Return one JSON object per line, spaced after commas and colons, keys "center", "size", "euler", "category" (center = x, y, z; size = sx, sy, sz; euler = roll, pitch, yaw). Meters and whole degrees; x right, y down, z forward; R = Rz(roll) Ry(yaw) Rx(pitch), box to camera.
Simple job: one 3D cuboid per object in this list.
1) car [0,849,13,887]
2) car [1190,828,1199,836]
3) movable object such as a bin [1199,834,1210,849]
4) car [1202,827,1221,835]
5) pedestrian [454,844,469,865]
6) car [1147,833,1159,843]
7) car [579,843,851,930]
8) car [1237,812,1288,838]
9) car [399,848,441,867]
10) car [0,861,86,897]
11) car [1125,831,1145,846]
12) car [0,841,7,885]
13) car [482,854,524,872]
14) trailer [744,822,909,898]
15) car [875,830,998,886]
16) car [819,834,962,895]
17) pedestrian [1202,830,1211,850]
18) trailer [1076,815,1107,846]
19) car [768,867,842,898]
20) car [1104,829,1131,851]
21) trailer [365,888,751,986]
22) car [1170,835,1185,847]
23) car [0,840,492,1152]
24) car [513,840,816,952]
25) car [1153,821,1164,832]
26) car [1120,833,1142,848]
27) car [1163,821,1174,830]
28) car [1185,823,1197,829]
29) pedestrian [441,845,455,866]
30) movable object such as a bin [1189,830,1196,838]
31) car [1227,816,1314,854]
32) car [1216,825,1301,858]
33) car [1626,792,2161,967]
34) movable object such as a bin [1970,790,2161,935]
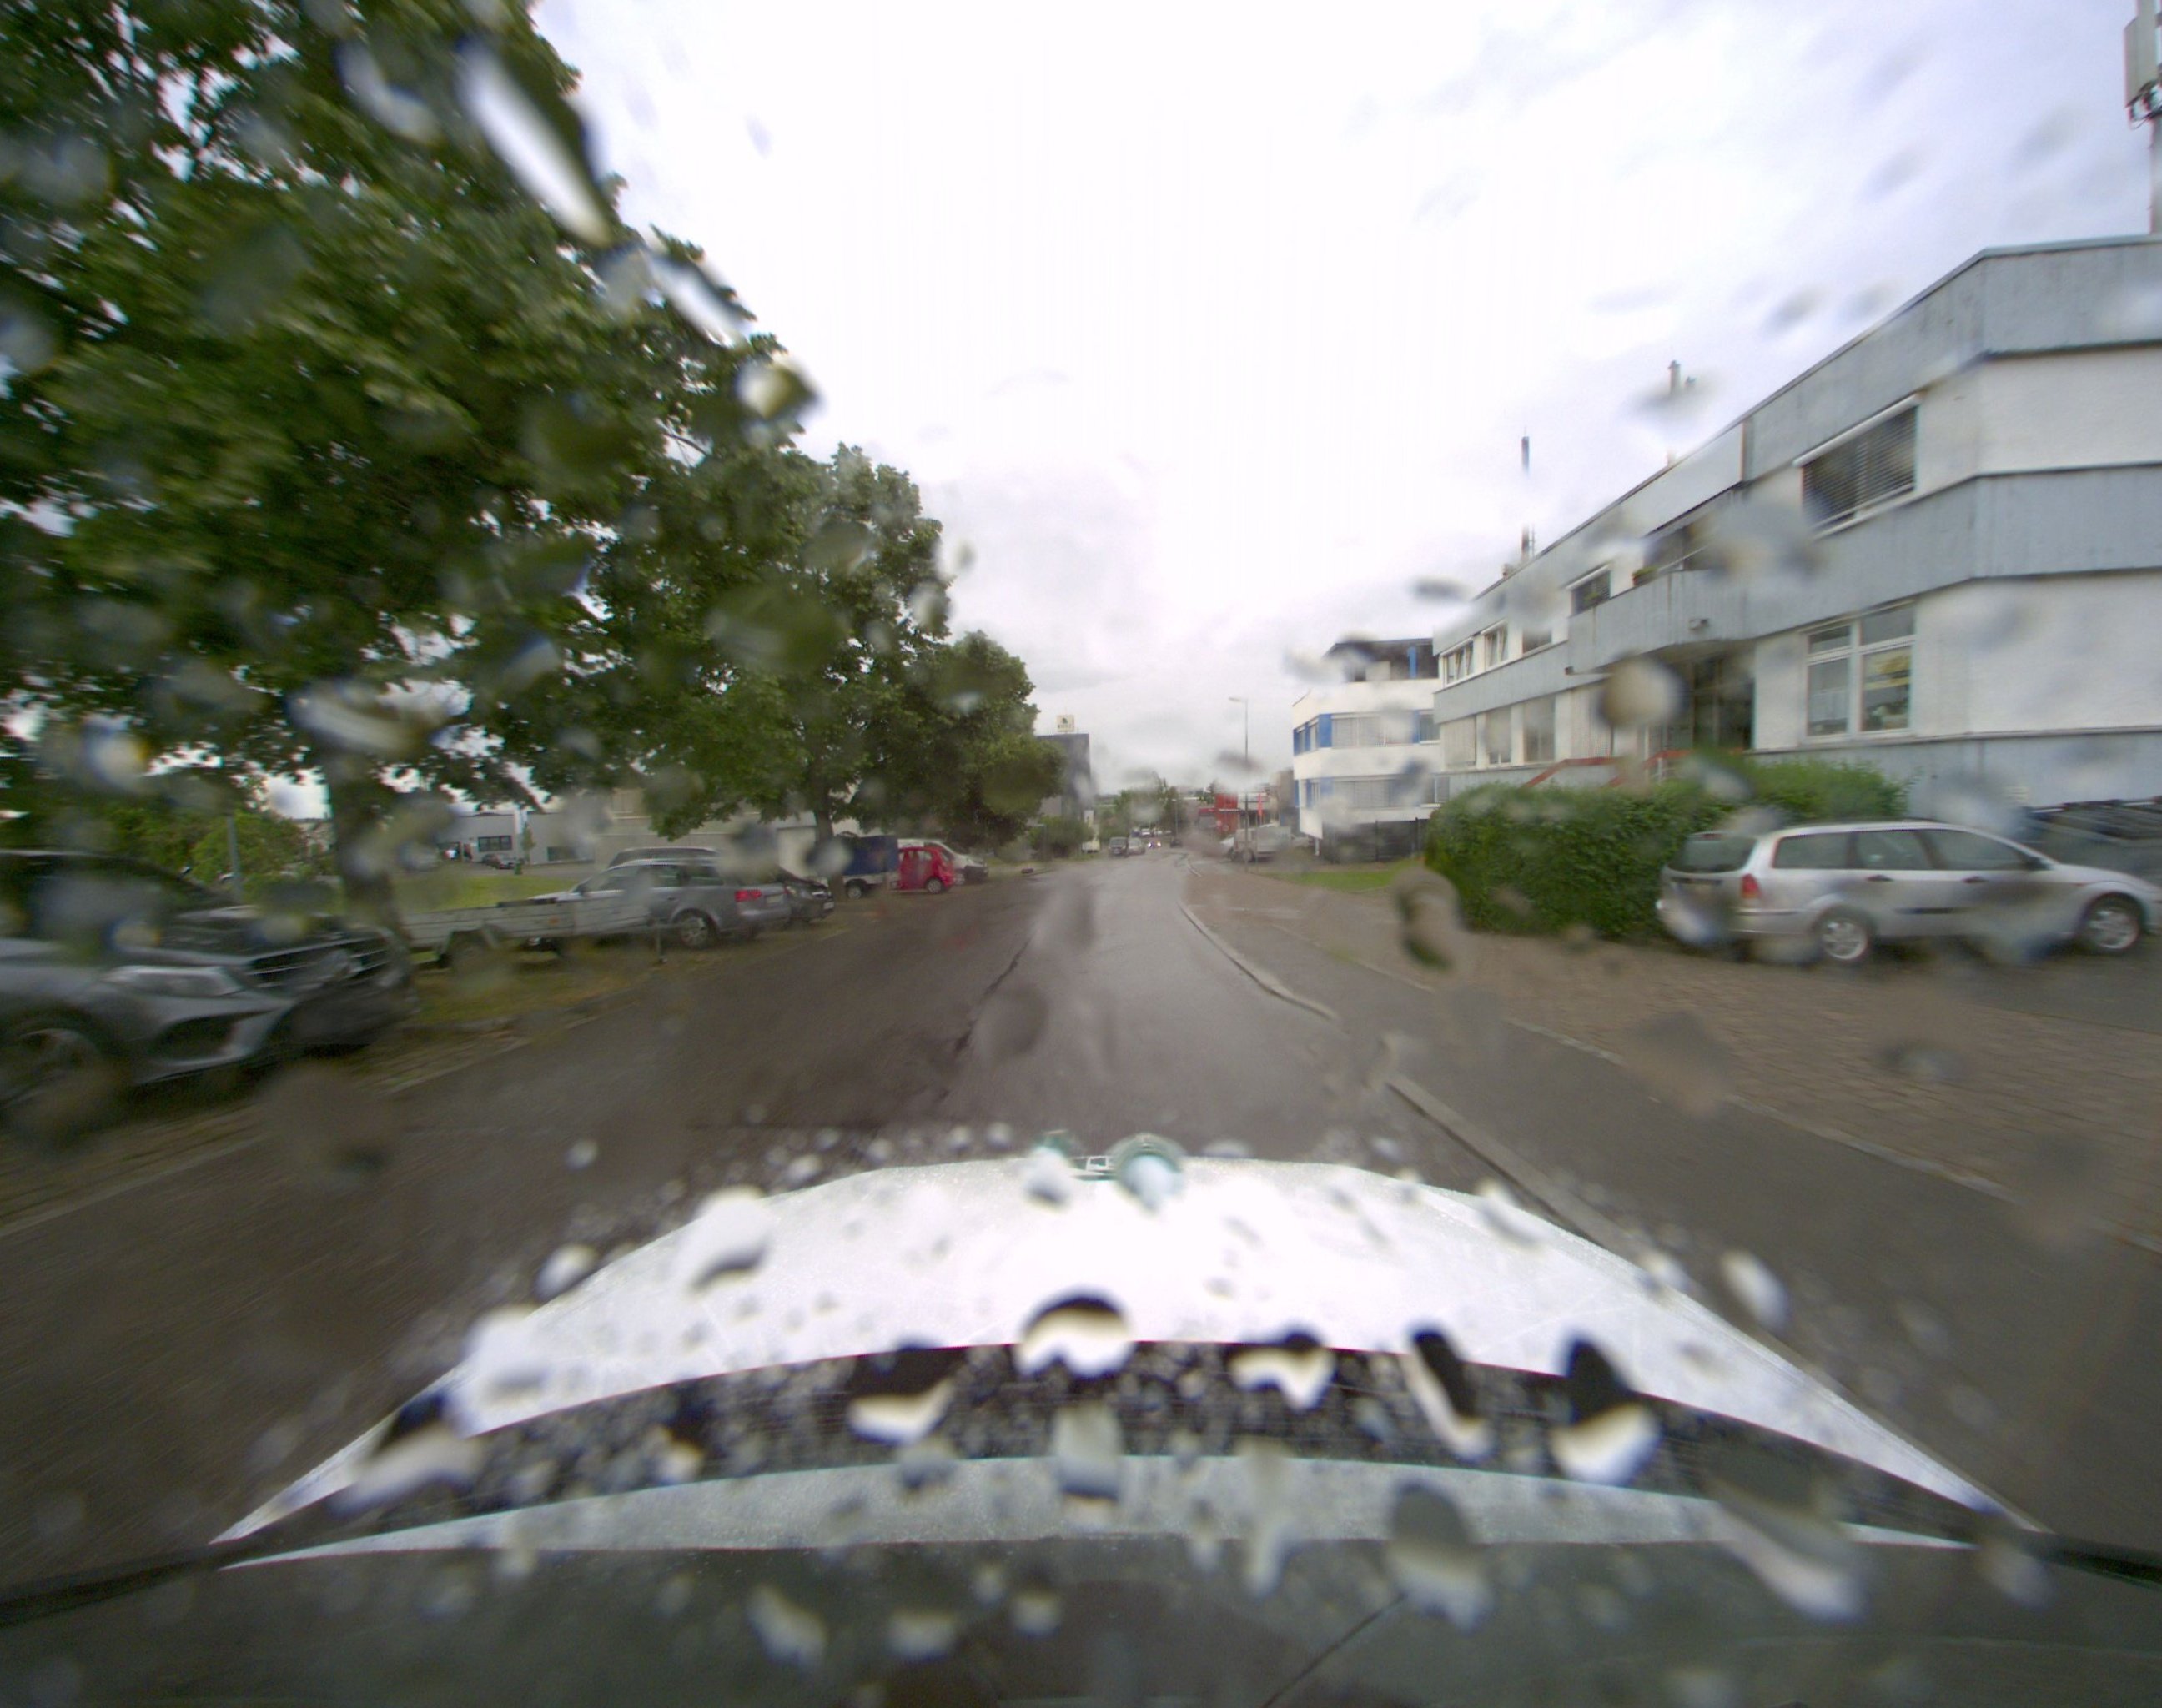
{"center": [-79.569, 1.081, 56.747], "size": [1.975, 2.701, 5.847], "euler": [-1, 2, 26], "category": "car"}
{"center": [22.896, -4.451, 164.455], "size": [1.688, 1.475, 4.009], "euler": [-3, 1, 7], "category": "car"}
{"center": [9.323, -0.952, 61.263], "size": [0.767, 1.029, 0.810], "euler": [-2, 1, 9], "category": "movable object such as a bin"}
{"center": [23.452, -4.143, 146.483], "size": [3.380, 1.162, 1.797], "euler": [-2, 2, 9], "category": "car"}
{"center": [-60.812, 0.087, 79.936], "size": [0.651, 2.004, 0.870], "euler": [-1, 2, 35], "category": "pedestrian"}
{"center": [11.316, -2.537, 129.010], "size": [1.739, 1.508, 3.940], "euler": [-5, 0, 4], "category": "car"}
{"center": [-7.191, 0.611, 16.260], "size": [4.596, 1.589, 1.809], "euler": [-1, 1, 4], "category": "car"}
{"center": [20.696, -3.326, 93.286], "size": [5.271, 2.013, 2.227], "euler": [-10, 0, 7], "category": "car"}
{"center": [-61.822, 0.373, 76.160], "size": [3.948, 1.617, 1.823], "euler": [-1, 2, 33], "category": "car"}
{"center": [-66.562, 1.619, 50.764], "size": [2.261, 1.974, 5.457], "euler": [-4, 0, 32], "category": "car"}
{"center": [6.306, -1.764, 94.746], "size": [1.947, 1.576, 4.849], "euler": [-3, 1, 6], "category": "car"}
{"center": [-86.536, 0.842, 61.477], "size": [1.974, 3.429, 6.342], "euler": [-2, 1, 33], "category": "car"}
{"center": [-57.861, 0.919, 81.545], "size": [3.948, 1.617, 2.013], "euler": [-1, 2, 33], "category": "car"}
{"center": [-7.469, 0.162, 24.150], "size": [4.193, 1.984, 1.776], "euler": [-3, 1, 4], "category": "trailer"}
{"center": [-5.622, 0.146, 31.936], "size": [4.273, 1.905, 1.867], "euler": [-3, 1, 10], "category": "car"}
{"center": [-6.203, 0.321, 26.890], "size": [4.180, 1.721, 1.756], "euler": [-3, 1, 1], "category": "car"}
{"center": [11.083, -1.244, 72.095], "size": [0.732, 1.767, 0.810], "euler": [-2, 1, 9], "category": "pedestrian"}
{"center": [1.495, -3.350, 117.330], "size": [2.018, 4.202, 4.135], "euler": [-5, 2, -44], "category": "trailer"}
{"center": [-15.630, 1.610, 46.252], "size": [1.543, 1.446, 3.731], "euler": [-2, 2, 32], "category": "car"}
{"center": [3.343, -1.323, 73.886], "size": [1.904, 1.831, 4.860], "euler": [-2, 1, 9], "category": "car"}
{"center": [-6.907, 1.080, 11.105], "size": [3.925, 0.961, 2.002], "euler": [-2, 2, 2], "category": "trailer"}
{"center": [14.180, -1.942, 119.895], "size": [1.947, 1.675, 4.478], "euler": [-3, 0, 4], "category": "car"}
{"center": [-7.087, 0.872, 5.678], "size": [4.352, 1.721, 2.045], "euler": [-3, 1, 1], "category": "car"}
{"center": [-6.894, 0.649, 13.776], "size": [4.053, 1.721, 2.029], "euler": [-1, 1, 6], "category": "car"}
{"center": [19.055, -6.741, 200.180], "size": [2.186, 2.459, 3.999], "euler": [-3, 1, -1], "category": "car"}
{"center": [5.418, -1.480, 88.419], "size": [1.945, 1.461, 5.259], "euler": [-3, 1, 7], "category": "car"}
{"center": [21.561, -7.110, 200.895], "size": [2.138, 2.013, 3.940], "euler": [-3, 1, 1], "category": "car"}
{"center": [25.108, -6.351, 186.547], "size": [2.538, 1.351, 1.243], "euler": [-3, 2, 2], "category": "car"}
{"center": [-61.535, 0.138, 79.162], "size": [0.638, 2.013, 0.857], "euler": [-1, 2, 36], "category": "pedestrian"}
{"center": [17.037, -3.090, 124.444], "size": [0.803, 1.092, 0.710], "euler": [-3, 2, 2], "category": "movable object such as a bin"}
{"center": [10.196, -1.019, 44.072], "size": [4.319, 1.773, 2.093], "euler": [-3, 1, 5], "category": "car"}
{"center": [10.203, -0.748, 47.194], "size": [4.572, 1.538, 2.084], "euler": [-4, 1, 7], "category": "car"}
{"center": [8.976, 0.253, 9.217], "size": [4.293, 1.584, 1.861], "euler": [-3, 1, 4], "category": "car"}
{"center": [12.715, 0.037, 9.696], "size": [2.254, 1.503, 1.737], "euler": [-4, 1, 7], "category": "movable object such as a bin"}
